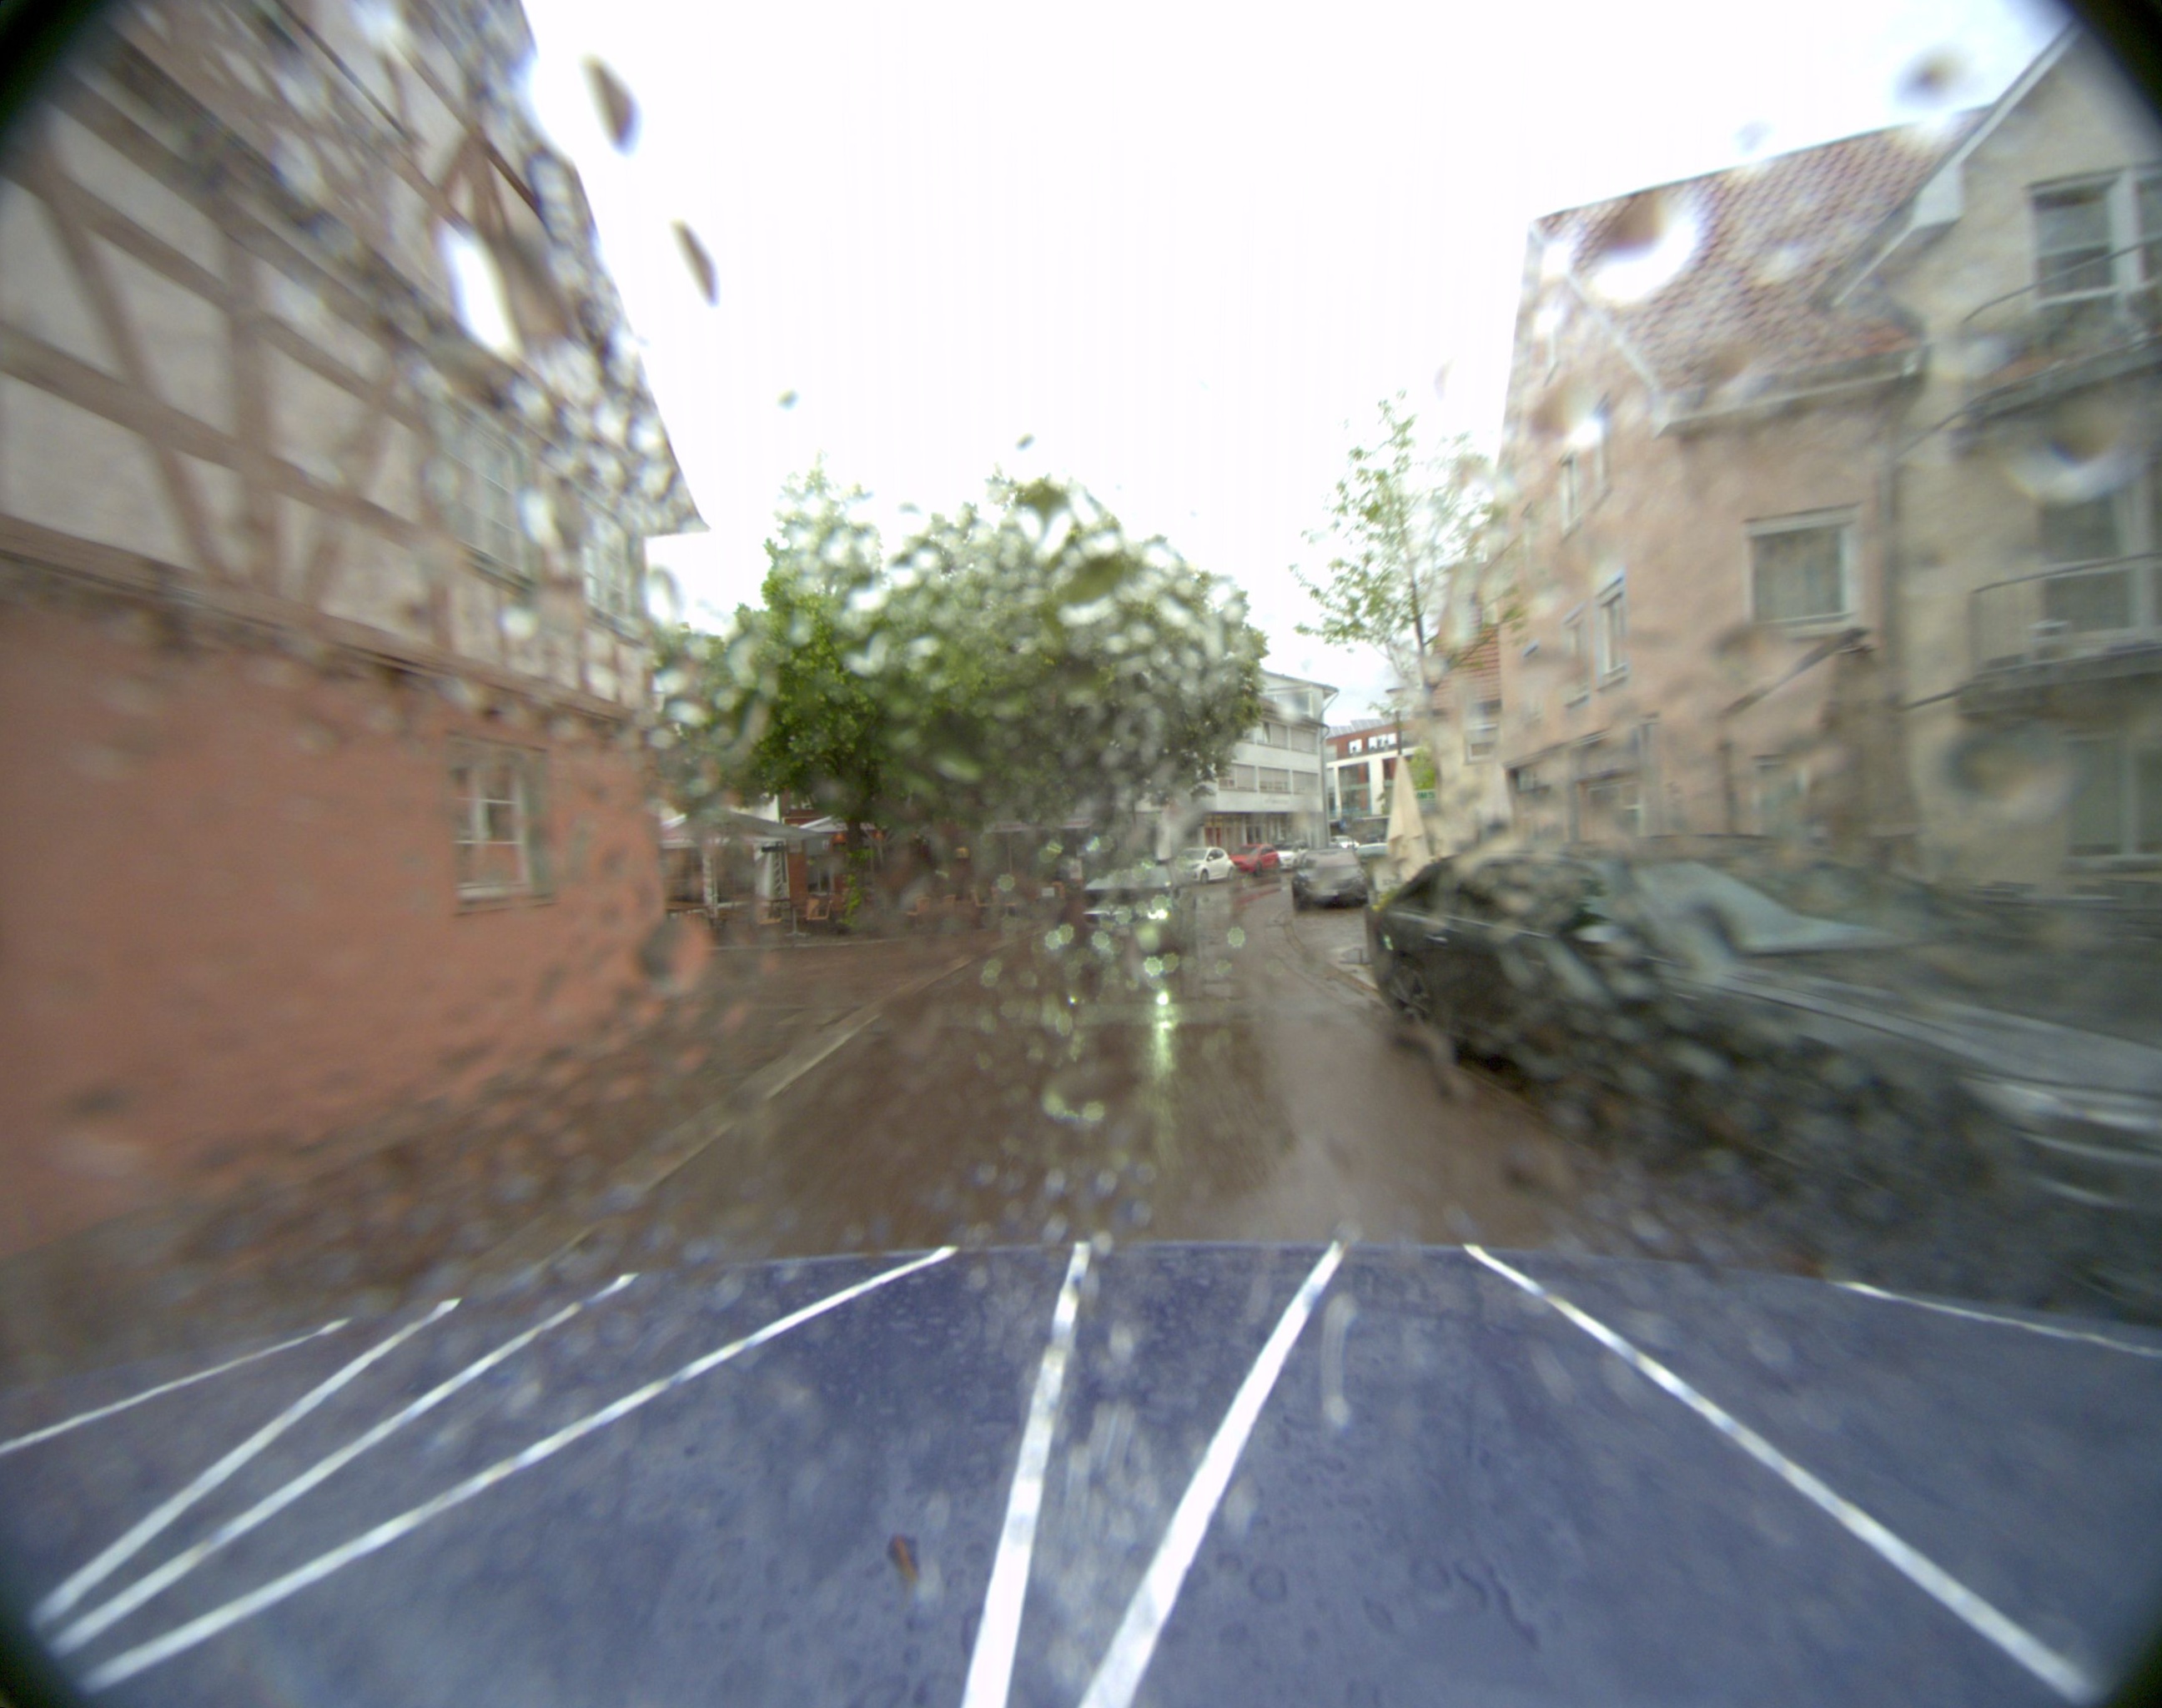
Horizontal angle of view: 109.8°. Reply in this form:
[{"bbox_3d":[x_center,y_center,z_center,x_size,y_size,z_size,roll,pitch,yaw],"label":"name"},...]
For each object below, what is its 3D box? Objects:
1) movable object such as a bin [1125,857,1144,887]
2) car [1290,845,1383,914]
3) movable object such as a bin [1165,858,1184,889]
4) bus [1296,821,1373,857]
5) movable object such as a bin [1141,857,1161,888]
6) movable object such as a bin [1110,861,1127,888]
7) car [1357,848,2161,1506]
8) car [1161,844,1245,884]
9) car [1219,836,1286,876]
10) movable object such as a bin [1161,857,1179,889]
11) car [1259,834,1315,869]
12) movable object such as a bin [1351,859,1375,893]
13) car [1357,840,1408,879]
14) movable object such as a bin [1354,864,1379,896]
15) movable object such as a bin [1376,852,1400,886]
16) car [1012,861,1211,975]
[{"bbox_3d":[2.094,0.704,29.572,0.503,1.143,0.581,-2,2,27],"label":"movable object such as a bin"},{"bbox_3d":[6.663,0.577,19.710,1.996,1.446,4.379,-2,2,20],"label":"car"},{"bbox_3d":[3.609,0.745,29.389,0.534,1.143,0.501,-2,2,27],"label":"movable object such as a bin"},{"bbox_3d":[25.497,-1.556,77.197,2.680,3.281,10.682,-3,2,-9],"label":"bus"},{"bbox_3d":[2.695,0.720,29.368,0.545,1.143,0.586,-2,2,27],"label":"movable object such as a bin"},{"bbox_3d":[1.482,0.797,30.039,0.430,1.041,0.501,-2,2,27],"label":"movable object such as a bin"},{"bbox_3d":[3.319,0.755,3.953,1.806,1.424,4.625,-3,1,-3],"label":"car"},{"bbox_3d":[5.248,0.399,32.198,1.691,1.530,4.412,-2,0,35],"label":"car"},{"bbox_3d":[8.259,0.082,36.381,1.691,1.680,3.964,-1,2,35],"label":"car"},{"bbox_3d":[3.361,0.716,28.794,0.477,1.162,0.489,-2,2,27],"label":"movable object such as a bin"},{"bbox_3d":[11.214,-0.149,41.242,1.691,1.680,4.285,-2,2,32],"label":"car"},{"bbox_3d":[9.688,0.762,26.063,0.660,1.103,0.625,-2,2,28],"label":"movable object such as a bin"},{"bbox_3d":[12.490,0.185,31.376,1.691,1.415,3.822,-2,1,25],"label":"car"},{"bbox_3d":[10.035,0.911,26.730,0.692,1.080,0.547,-4,1,28],"label":"movable object such as a bin"},{"bbox_3d":[10.407,0.490,25.729,0.660,1.103,0.625,-2,2,28],"label":"movable object such as a bin"},{"bbox_3d":[0.775,0.909,12.676,1.996,1.398,4.899,-3,0,18],"label":"car"}]
